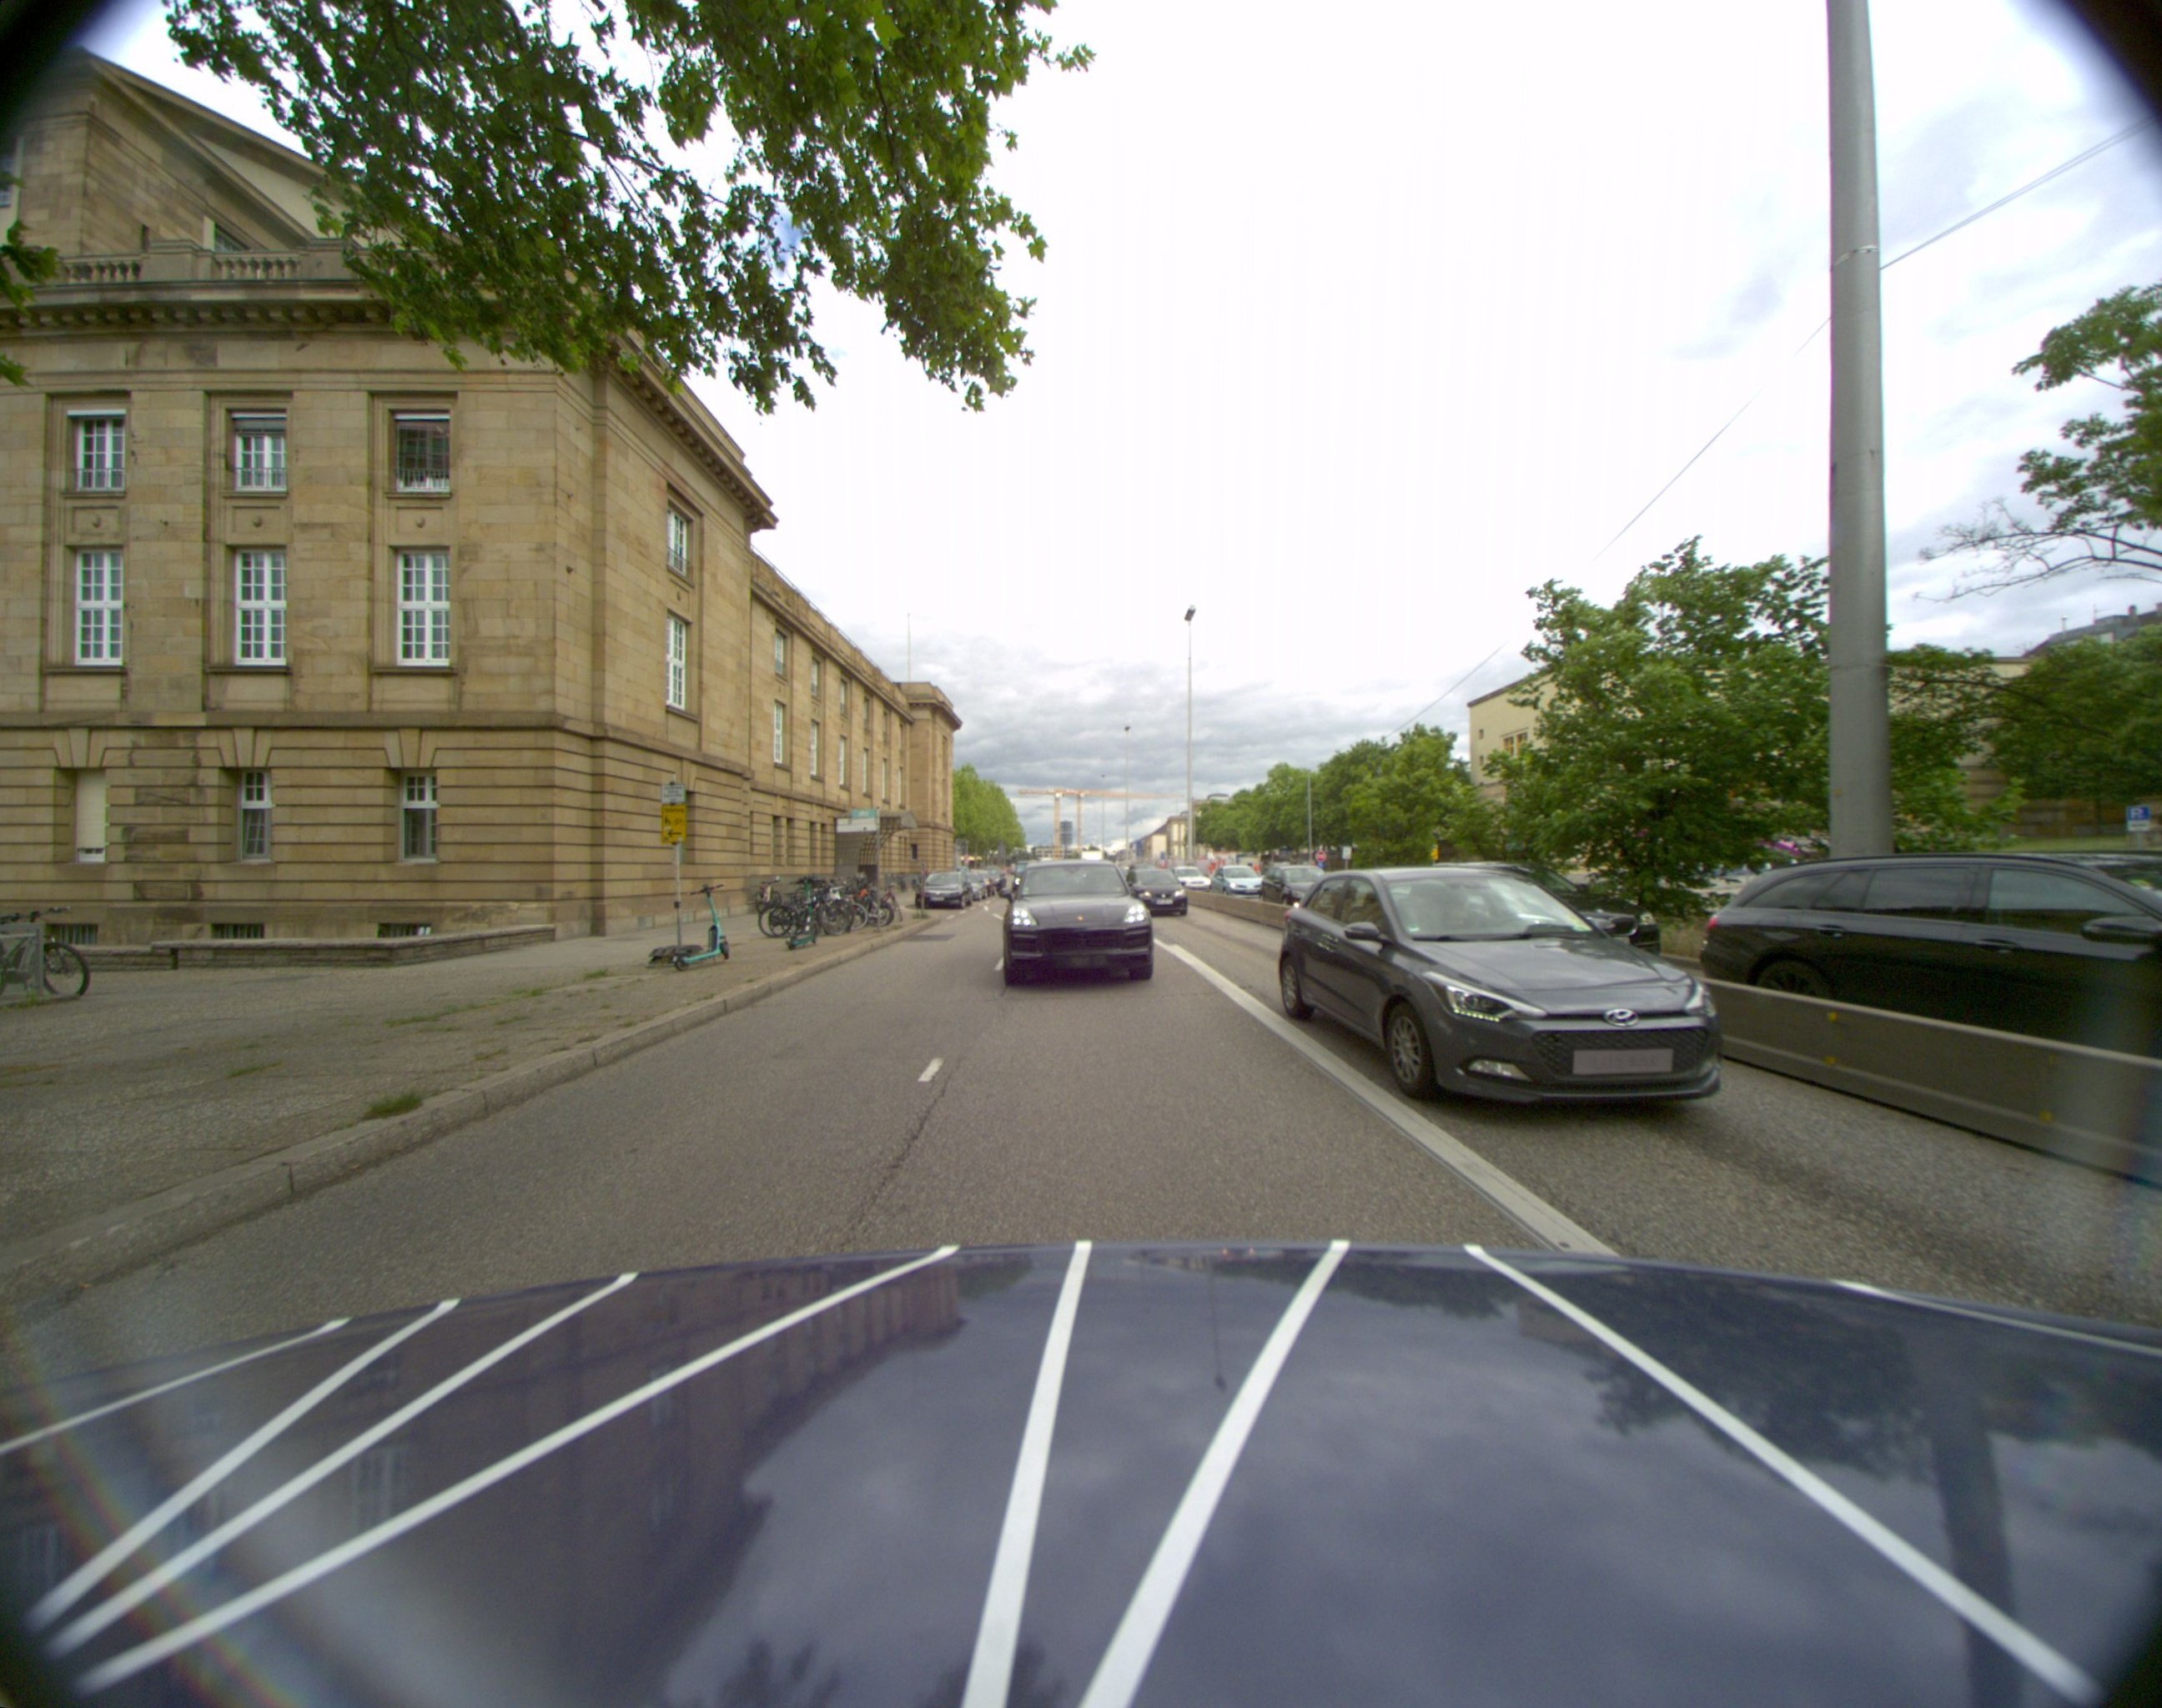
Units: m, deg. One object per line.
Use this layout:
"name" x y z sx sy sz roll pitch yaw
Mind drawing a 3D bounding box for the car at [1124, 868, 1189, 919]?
"car" 2.359 1.210 24.464 1.612 1.464 3.622 -1 0 -2

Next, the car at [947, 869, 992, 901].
"car" -5.532 1.526 38.107 1.713 1.417 3.996 1 0 -1

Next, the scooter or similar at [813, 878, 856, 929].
"scooter or similar" -6.296 1.256 19.491 0.426 1.217 1.313 -2 0 11

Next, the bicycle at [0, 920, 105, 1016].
"bicycle" -13.301 1.404 9.359 2.016 1.119 0.389 -1 0 0

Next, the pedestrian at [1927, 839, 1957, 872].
"pedestrian" 48.198 0.079 42.542 0.693 1.842 0.804 -2 1 1

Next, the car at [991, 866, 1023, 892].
"car" -4.620 1.557 48.085 1.549 1.543 3.709 0 -1 2

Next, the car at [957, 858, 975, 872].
"car" -13.056 1.279 86.608 1.584 1.521 3.503 -1 0 -2

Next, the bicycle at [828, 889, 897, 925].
"bicycle" -5.914 1.423 20.553 1.730 0.911 0.614 -1 0 19

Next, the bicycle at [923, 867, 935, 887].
"bicycle" -9.971 1.515 49.853 0.413 1.280 1.790 0 0 0

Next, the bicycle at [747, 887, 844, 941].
"bicycle" -6.134 1.284 16.352 1.860 1.085 0.666 -2 0 13

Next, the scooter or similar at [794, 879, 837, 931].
"scooter or similar" -6.793 1.291 19.499 0.563 1.271 1.149 -2 0 6

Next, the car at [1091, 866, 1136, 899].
"car" 1.589 1.377 38.134 1.691 1.496 3.998 -1 0 -6

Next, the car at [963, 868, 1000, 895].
"car" -5.641 1.540 43.497 1.620 1.446 3.858 1 0 0

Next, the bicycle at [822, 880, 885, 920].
"bicycle" -6.099 1.242 20.362 1.565 1.022 0.436 -2 0 12

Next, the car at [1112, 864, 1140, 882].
"car" 3.587 1.501 60.930 1.731 1.288 3.933 -1 0 -5

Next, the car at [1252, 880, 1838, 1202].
"car" 2.810 0.994 5.818 1.803 1.429 4.019 -1 0 -4

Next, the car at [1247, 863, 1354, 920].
"car" 6.291 1.023 22.309 1.664 1.445 4.196 -1 0 -4

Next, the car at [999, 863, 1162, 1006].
"car" -0.158 0.963 11.023 1.908 1.648 4.199 0 -1 -4

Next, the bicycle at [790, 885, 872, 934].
"bicycle" -5.905 1.302 17.950 1.731 1.085 0.575 -2 0 9

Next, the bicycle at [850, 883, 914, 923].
"bicycle" -5.586 1.370 21.305 1.664 1.068 0.586 -1 0 20

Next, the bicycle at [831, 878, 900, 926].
"bicycle" -5.459 1.209 19.302 1.616 1.123 0.407 -2 0 -26

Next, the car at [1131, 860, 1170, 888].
"car" 4.381 1.247 48.557 1.781 1.611 4.044 -1 0 -5

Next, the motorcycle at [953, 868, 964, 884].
"motorcycle" -9.646 1.741 59.888 0.456 1.235 1.923 1 0 3

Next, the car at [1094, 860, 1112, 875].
"car" 2.562 1.571 89.784 1.843 1.750 4.479 0 0 -2

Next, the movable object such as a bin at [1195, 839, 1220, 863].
"movable object such as a bin" 11.622 -0.228 69.745 1.526 2.172 3.292 0 0 -4

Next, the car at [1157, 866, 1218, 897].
"car" 5.519 1.409 39.996 1.884 1.472 4.701 -1 0 -9

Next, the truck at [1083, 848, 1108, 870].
"truck" 1.839 0.644 98.038 2.978 2.757 7.255 0 0 0

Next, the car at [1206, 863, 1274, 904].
"car" 6.487 1.169 31.359 1.677 1.498 3.852 -1 0 -5

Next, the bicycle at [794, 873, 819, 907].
"bicycle" -10.305 1.334 28.601 0.276 1.176 1.538 -2 0 3

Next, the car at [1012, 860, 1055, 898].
"car" -2.491 1.273 40.652 1.952 1.914 4.399 0 0 0

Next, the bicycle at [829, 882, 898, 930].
"bicycle" -5.579 1.324 19.509 1.616 1.123 0.469 -2 0 -26

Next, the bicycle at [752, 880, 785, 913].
"bicycle" -10.252 1.378 24.979 0.241 0.992 1.963 0 0 0

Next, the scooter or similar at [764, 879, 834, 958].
"scooter or similar" -5.149 1.147 13.982 0.727 1.323 1.413 -2 0 0

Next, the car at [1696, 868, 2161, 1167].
"car" 6.444 0.858 4.456 1.821 1.490 4.769 0 0 0

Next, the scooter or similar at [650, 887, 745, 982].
"scooter or similar" -5.733 1.174 11.442 0.432 1.273 1.435 -2 0 12

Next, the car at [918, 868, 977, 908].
"car" -5.348 1.329 30.883 1.793 1.477 4.325 0 -1 -2

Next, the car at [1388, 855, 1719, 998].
"car" 6.490 0.859 11.307 1.928 1.626 4.937 -1 0 1

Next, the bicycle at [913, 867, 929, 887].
"bicycle" -10.139 1.463 48.172 0.557 1.209 1.916 0 0 0

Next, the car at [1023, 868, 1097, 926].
"car" -0.598 1.174 22.139 1.930 1.501 4.000 0 -1 -1

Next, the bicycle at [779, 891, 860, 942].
"bicycle" -5.885 1.406 17.098 1.731 1.085 0.426 -2 0 13

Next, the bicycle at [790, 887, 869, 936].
"bicycle" -5.793 1.326 17.499 1.731 1.085 0.381 -2 0 13

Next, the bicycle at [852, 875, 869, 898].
"bicycle" -10.342 1.497 35.631 0.222 1.023 1.859 -2 0 0

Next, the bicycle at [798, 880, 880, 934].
"bicycle" -5.841 1.274 18.407 1.762 1.202 0.604 -2 0 -3

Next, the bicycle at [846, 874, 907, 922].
"bicycle" -5.635 1.212 20.933 1.544 1.249 0.544 -2 0 19
